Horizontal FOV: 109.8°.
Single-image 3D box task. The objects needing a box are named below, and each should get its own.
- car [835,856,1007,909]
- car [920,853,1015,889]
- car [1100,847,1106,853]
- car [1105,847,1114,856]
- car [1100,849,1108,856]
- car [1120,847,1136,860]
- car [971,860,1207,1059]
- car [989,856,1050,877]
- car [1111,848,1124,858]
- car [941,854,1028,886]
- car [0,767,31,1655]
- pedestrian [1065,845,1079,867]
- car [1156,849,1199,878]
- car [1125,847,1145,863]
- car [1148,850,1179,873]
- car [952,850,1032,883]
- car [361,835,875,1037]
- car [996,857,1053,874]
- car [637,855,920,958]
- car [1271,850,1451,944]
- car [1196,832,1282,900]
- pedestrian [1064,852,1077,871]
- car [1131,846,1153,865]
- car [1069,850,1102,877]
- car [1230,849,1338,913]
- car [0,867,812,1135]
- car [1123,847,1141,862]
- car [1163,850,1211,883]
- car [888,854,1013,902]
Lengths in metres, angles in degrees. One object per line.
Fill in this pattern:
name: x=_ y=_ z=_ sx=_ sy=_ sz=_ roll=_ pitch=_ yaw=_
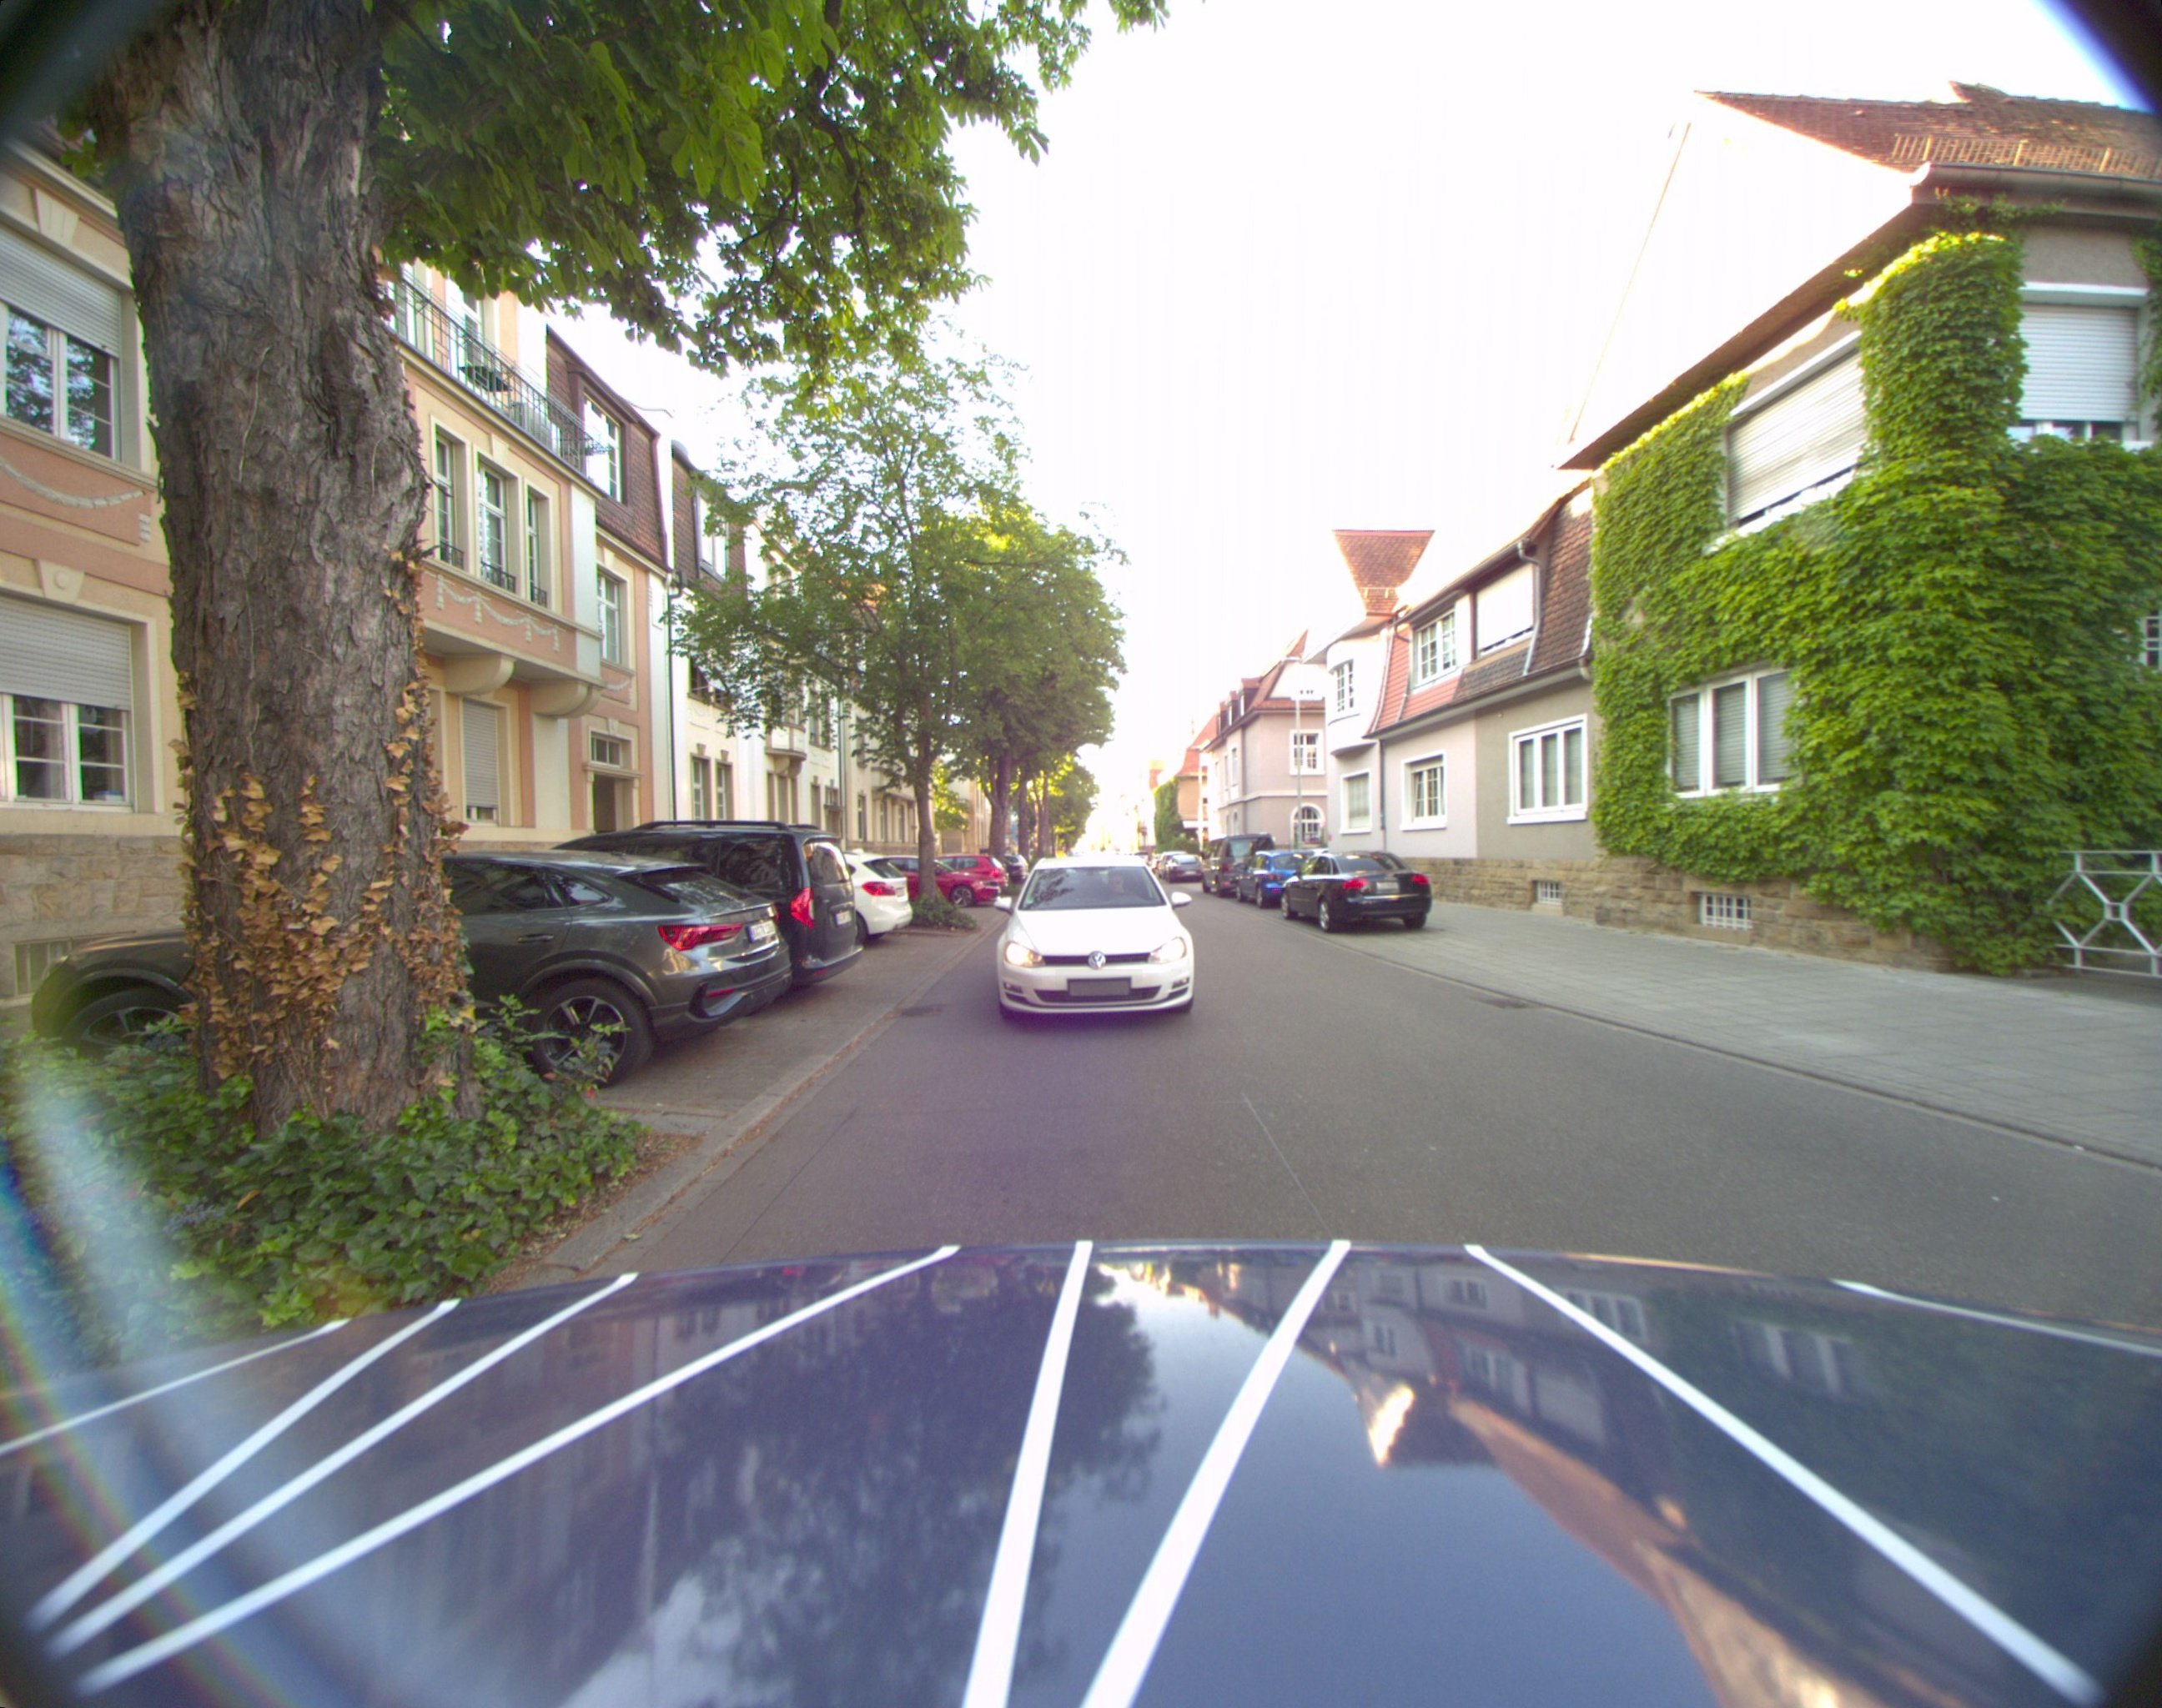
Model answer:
car: x=-4.530 y=0.791 z=21.936 sx=4.530 sy=1.443 sz=1.867 roll=0 pitch=1 yaw=3
car: x=-4.674 y=0.700 z=31.708 sx=3.680 sy=1.458 sz=1.576 roll=0 pitch=1 yaw=2
car: x=5.861 y=-1.033 z=202.666 sx=1.699 sy=1.520 sz=3.677 roll=-3 pitch=1 yaw=2
car: x=5.586 y=-0.512 z=149.116 sx=1.699 sy=1.520 sz=3.677 roll=-3 pitch=1 yaw=2
car: x=5.300 y=-0.310 z=173.286 sx=1.699 sy=1.520 sz=3.677 roll=-3 pitch=1 yaw=2
car: x=5.572 y=-0.073 z=91.006 sx=1.699 sy=1.520 sz=3.677 roll=-3 pitch=1 yaw=2
car: x=0.101 y=0.850 z=8.044 sx=1.819 sy=1.454 sz=4.072 roll=-2 pitch=0 yaw=1
car: x=-3.560 y=0.716 z=44.434 sx=3.399 sy=1.143 sz=1.542 roll=0 pitch=1 yaw=2
car: x=5.560 y=-0.165 z=115.859 sx=1.699 sy=1.520 sz=3.677 roll=-3 pitch=1 yaw=2
car: x=-4.310 y=0.702 z=34.324 sx=3.680 sy=1.390 sz=1.576 roll=0 pitch=1 yaw=2
car: x=-4.591 y=0.765 z=0.519 sx=4.763 sy=1.864 sz=1.896 roll=0 pitch=1 yaw=-4
pedestrian: x=-0.821 y=0.174 z=67.105 sx=1.119 sy=1.927 sz=1.097 roll=-3 pitch=1 yaw=-1
car: x=5.288 y=0.490 z=42.141 sx=1.932 sy=1.458 sz=4.062 roll=-3 pitch=1 yaw=2
car: x=5.342 y=0.096 z=75.268 sx=1.699 sy=1.520 sz=3.677 roll=-3 pitch=1 yaw=2
car: x=5.444 y=0.455 z=50.380 sx=1.662 sy=1.354 sz=3.677 roll=-3 pitch=1 yaw=2
car: x=-4.277 y=0.611 z=36.837 sx=3.680 sy=1.548 sz=1.576 roll=0 pitch=1 yaw=2
car: x=-4.434 y=0.732 z=7.829 sx=4.121 sy=1.827 sz=1.844 roll=0 pitch=1 yaw=-2
car: x=-3.511 y=0.709 z=47.640 sx=3.399 sy=1.057 sz=1.542 roll=0 pitch=1 yaw=2
car: x=-4.828 y=0.810 z=12.530 sx=3.950 sy=1.568 sz=1.719 roll=0 pitch=1 yaw=0
car: x=5.142 y=0.688 z=14.665 sx=1.806 sy=1.438 sz=4.428 roll=-3 pitch=1 yaw=1
car: x=5.149 y=0.343 z=25.351 sx=1.842 sy=1.964 sz=4.612 roll=-3 pitch=1 yaw=1
pedestrian: x=-1.064 y=0.741 z=78.169 sx=1.276 sy=1.927 sz=1.186 roll=-3 pitch=1 yaw=-1
car: x=5.428 y=0.130 z=68.003 sx=1.699 sy=1.558 sz=3.677 roll=-3 pitch=1 yaw=2
car: x=0.298 y=0.541 z=45.623 sx=1.819 sy=1.454 sz=4.072 roll=-2 pitch=0 yaw=1
car: x=5.284 y=0.635 z=20.340 sx=1.768 sy=1.438 sz=4.062 roll=-3 pitch=1 yaw=0
car: x=-4.536 y=0.883 z=5.505 sx=4.522 sy=1.514 sz=1.844 roll=0 pitch=1 yaw=-4
car: x=5.444 y=0.037 z=80.760 sx=1.699 sy=1.520 sz=3.677 roll=-3 pitch=1 yaw=2
car: x=5.066 y=0.581 z=36.664 sx=1.932 sy=1.376 sz=4.063 roll=-3 pitch=1 yaw=4
car: x=-4.135 y=0.742 z=24.464 sx=3.680 sy=1.473 sz=1.659 roll=0 pitch=1 yaw=3
